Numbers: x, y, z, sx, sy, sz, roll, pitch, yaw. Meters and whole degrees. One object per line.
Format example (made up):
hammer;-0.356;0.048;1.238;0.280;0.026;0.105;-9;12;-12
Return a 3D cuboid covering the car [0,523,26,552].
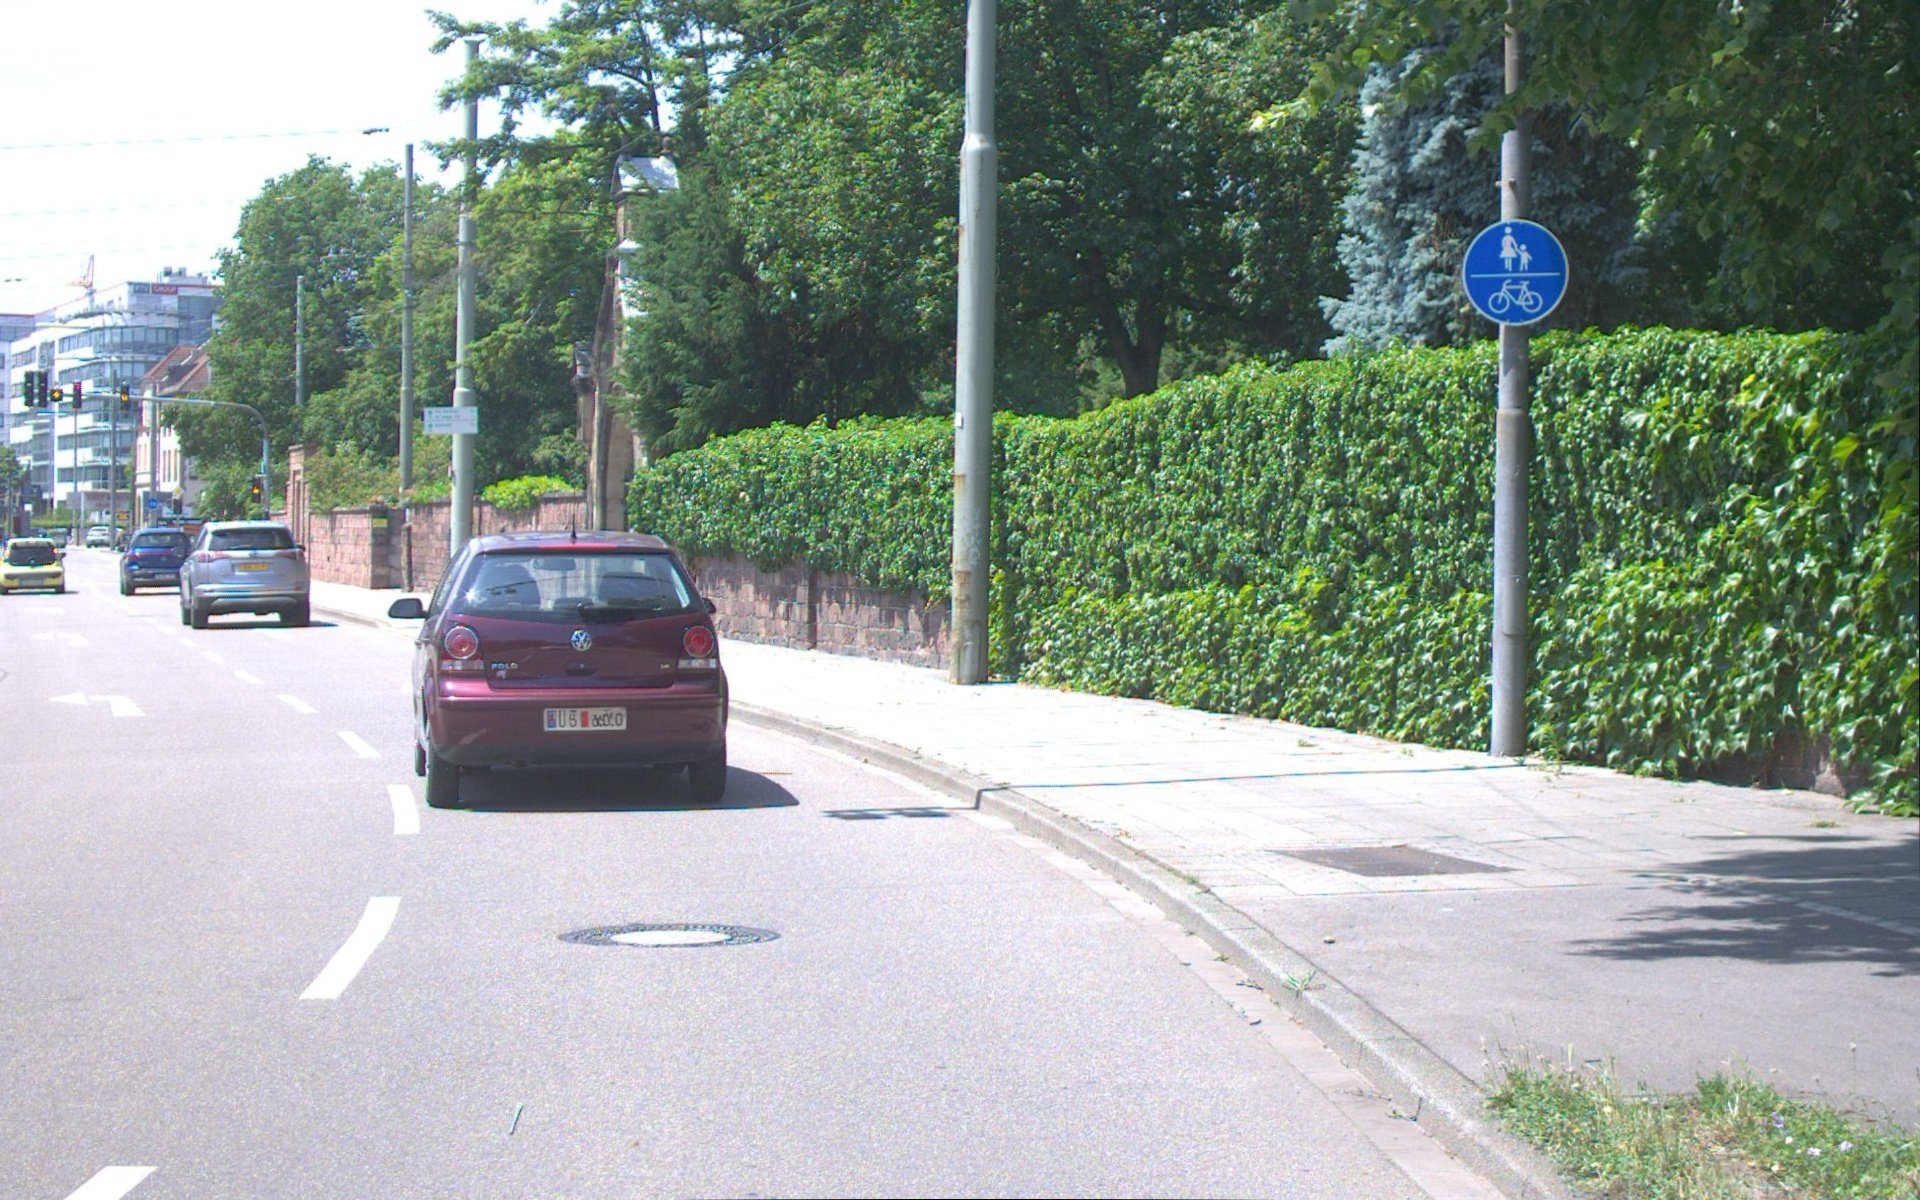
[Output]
car;-43.088;-2.833;155.875;1.353;1.248;2.973;1;1;-15

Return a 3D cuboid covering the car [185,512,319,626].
car;-11.215;-0.519;54.295;1.794;1.677;4.001;1;1;-15

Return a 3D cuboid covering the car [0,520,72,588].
car;-24.129;-1.218;89.617;1.794;1.677;4.001;1;1;-15

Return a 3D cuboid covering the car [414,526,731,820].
car;-2.256;0.328;19.703;1.609;1.493;4.001;0;1;-8

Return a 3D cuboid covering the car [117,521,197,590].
car;-19.875;-1.125;85.212;1.773;1.625;4.001;2;1;-12
